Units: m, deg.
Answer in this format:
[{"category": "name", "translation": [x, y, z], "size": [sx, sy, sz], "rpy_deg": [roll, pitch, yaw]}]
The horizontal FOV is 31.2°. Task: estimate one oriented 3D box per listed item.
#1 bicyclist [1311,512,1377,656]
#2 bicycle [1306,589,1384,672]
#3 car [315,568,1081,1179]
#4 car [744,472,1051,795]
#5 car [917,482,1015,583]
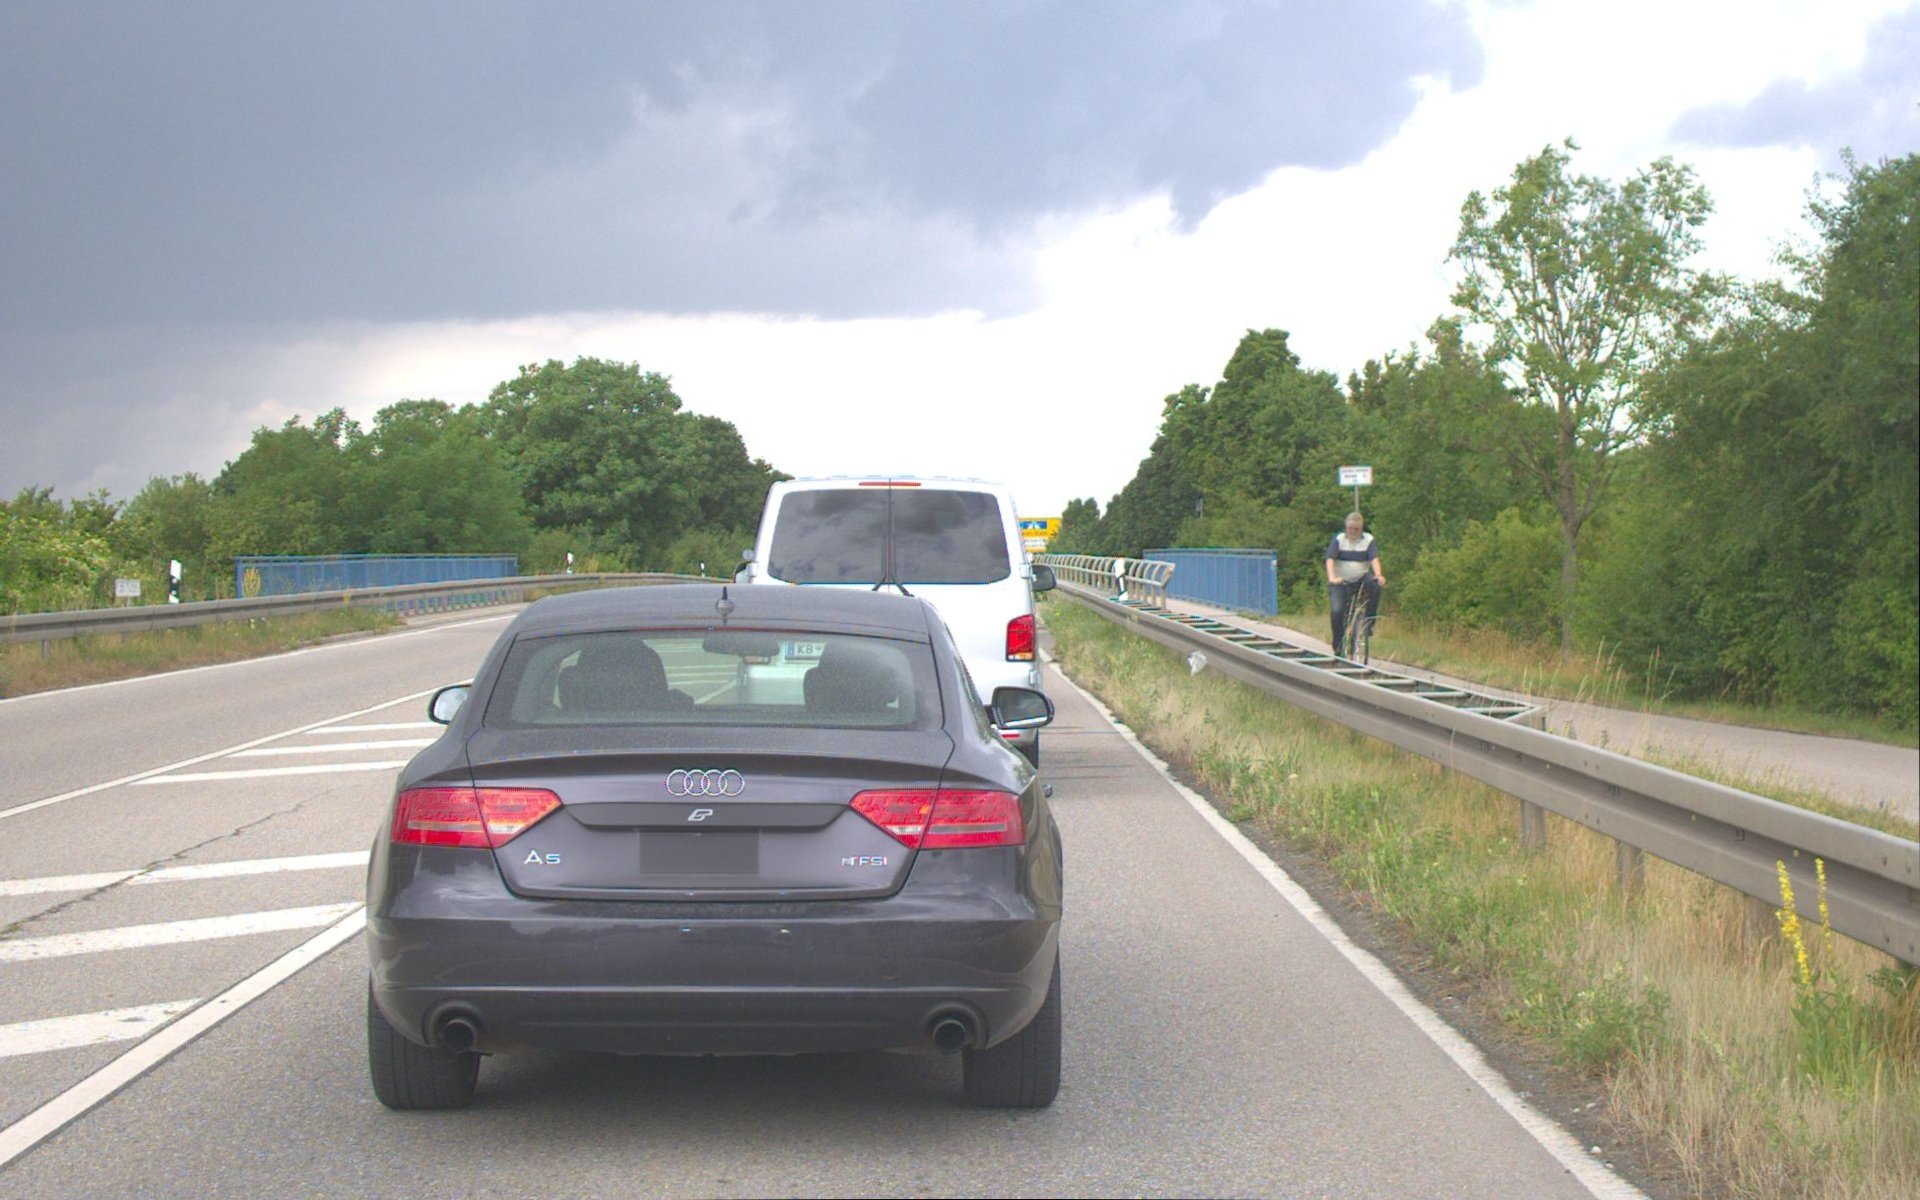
[{"category": "bicyclist", "translation": [4.425, -0.184, 39.665], "size": [0.647, 1.639, 0.866], "rpy_deg": [-1, 1, 0]}, {"category": "bicycle", "translation": [4.422, 0.341, 39.561], "size": [0.666, 0.917, 1.830], "rpy_deg": [-1, 1, 0]}, {"category": "car", "translation": [-0.634, 0.631, 10.095], "size": [1.785, 1.419, 4.000], "rpy_deg": [1, 0, 0]}, {"category": "car", "translation": [-0.387, 0.185, 22.263], "size": [1.785, 1.883, 4.000], "rpy_deg": [1, 0, 0]}, {"category": "car", "translation": [0.144, -1.753, 89.168], "size": [2.447, 2.495, 5.041], "rpy_deg": [1, 1, 0]}]
